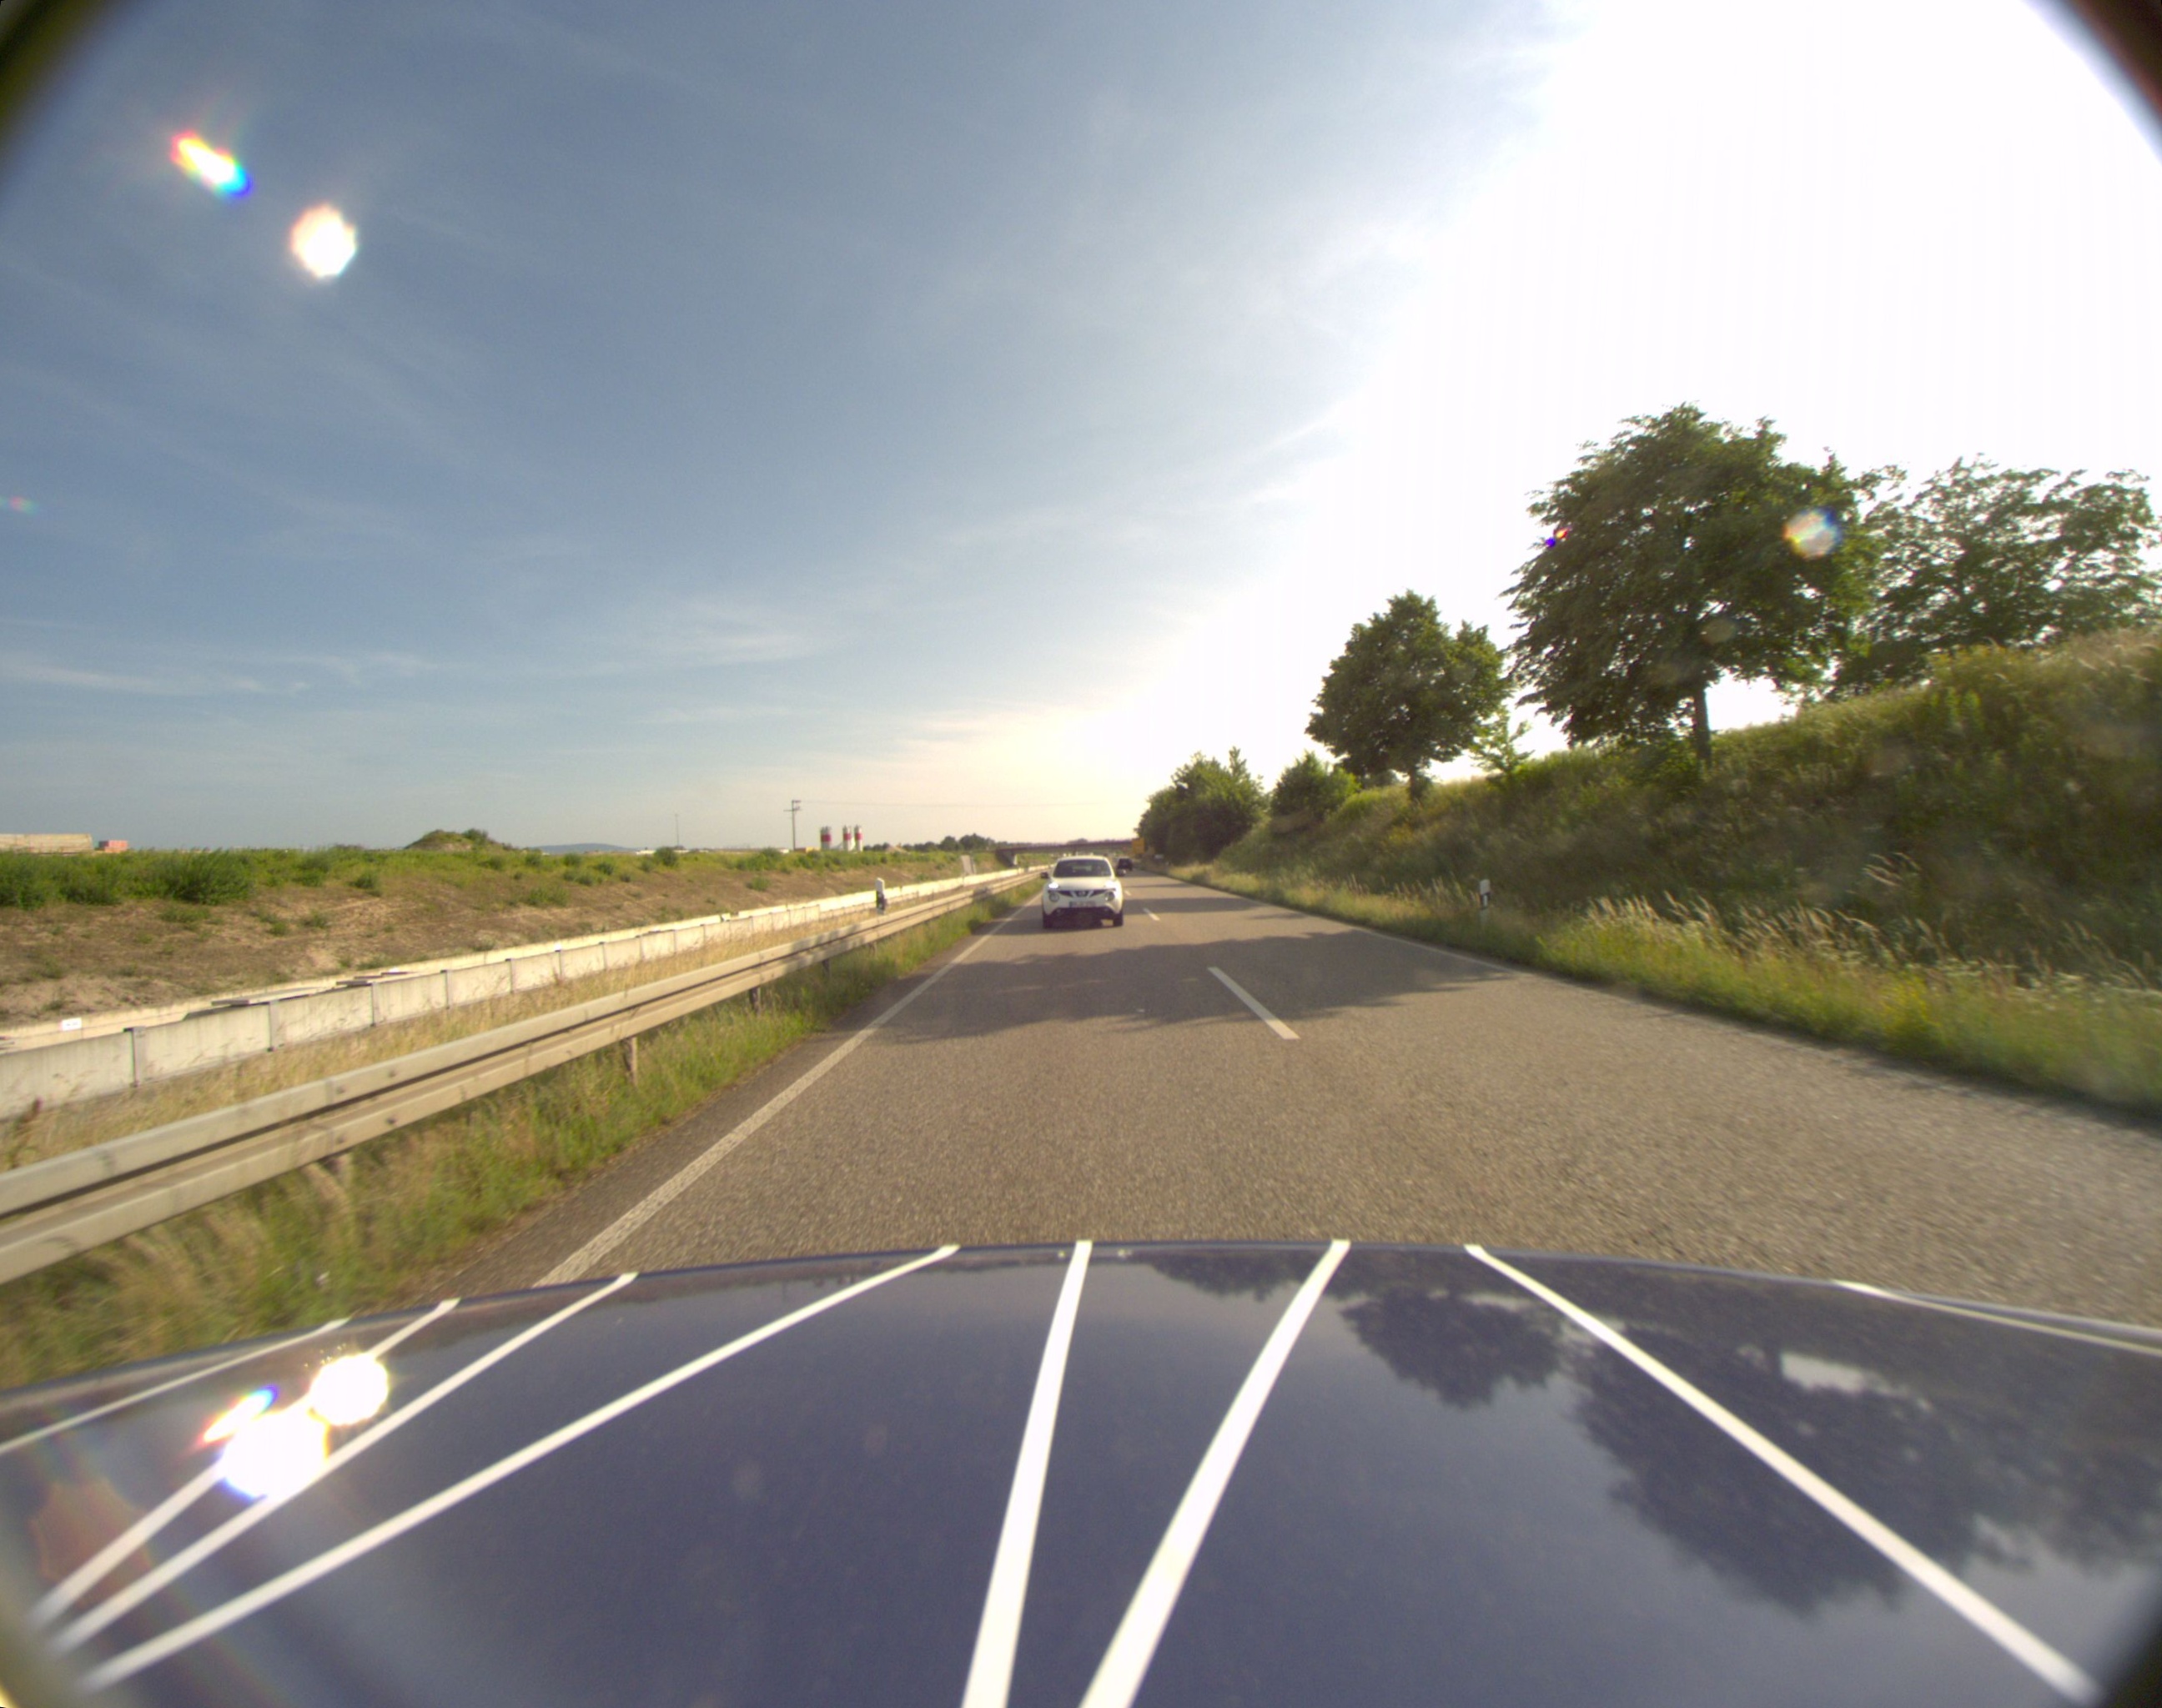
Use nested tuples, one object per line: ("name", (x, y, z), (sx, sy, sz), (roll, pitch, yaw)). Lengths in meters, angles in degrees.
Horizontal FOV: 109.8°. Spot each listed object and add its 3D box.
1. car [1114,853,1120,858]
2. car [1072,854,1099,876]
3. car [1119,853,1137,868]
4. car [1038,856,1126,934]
("car", (10.785, 0.463, 227.217), (1.749, 1.555, 4.365), (-2, 0, 0))
("car", (0.346, 0.834, 57.242), (1.908, 1.512, 4.465), (-2, 0, 0))
("car", (5.164, 0.722, 84.064), (1.747, 1.537, 4.311), (-1, 0, 0))
("car", (-0.012, 0.875, 18.251), (1.789, 1.593, 4.571), (-2, 0, -1))
